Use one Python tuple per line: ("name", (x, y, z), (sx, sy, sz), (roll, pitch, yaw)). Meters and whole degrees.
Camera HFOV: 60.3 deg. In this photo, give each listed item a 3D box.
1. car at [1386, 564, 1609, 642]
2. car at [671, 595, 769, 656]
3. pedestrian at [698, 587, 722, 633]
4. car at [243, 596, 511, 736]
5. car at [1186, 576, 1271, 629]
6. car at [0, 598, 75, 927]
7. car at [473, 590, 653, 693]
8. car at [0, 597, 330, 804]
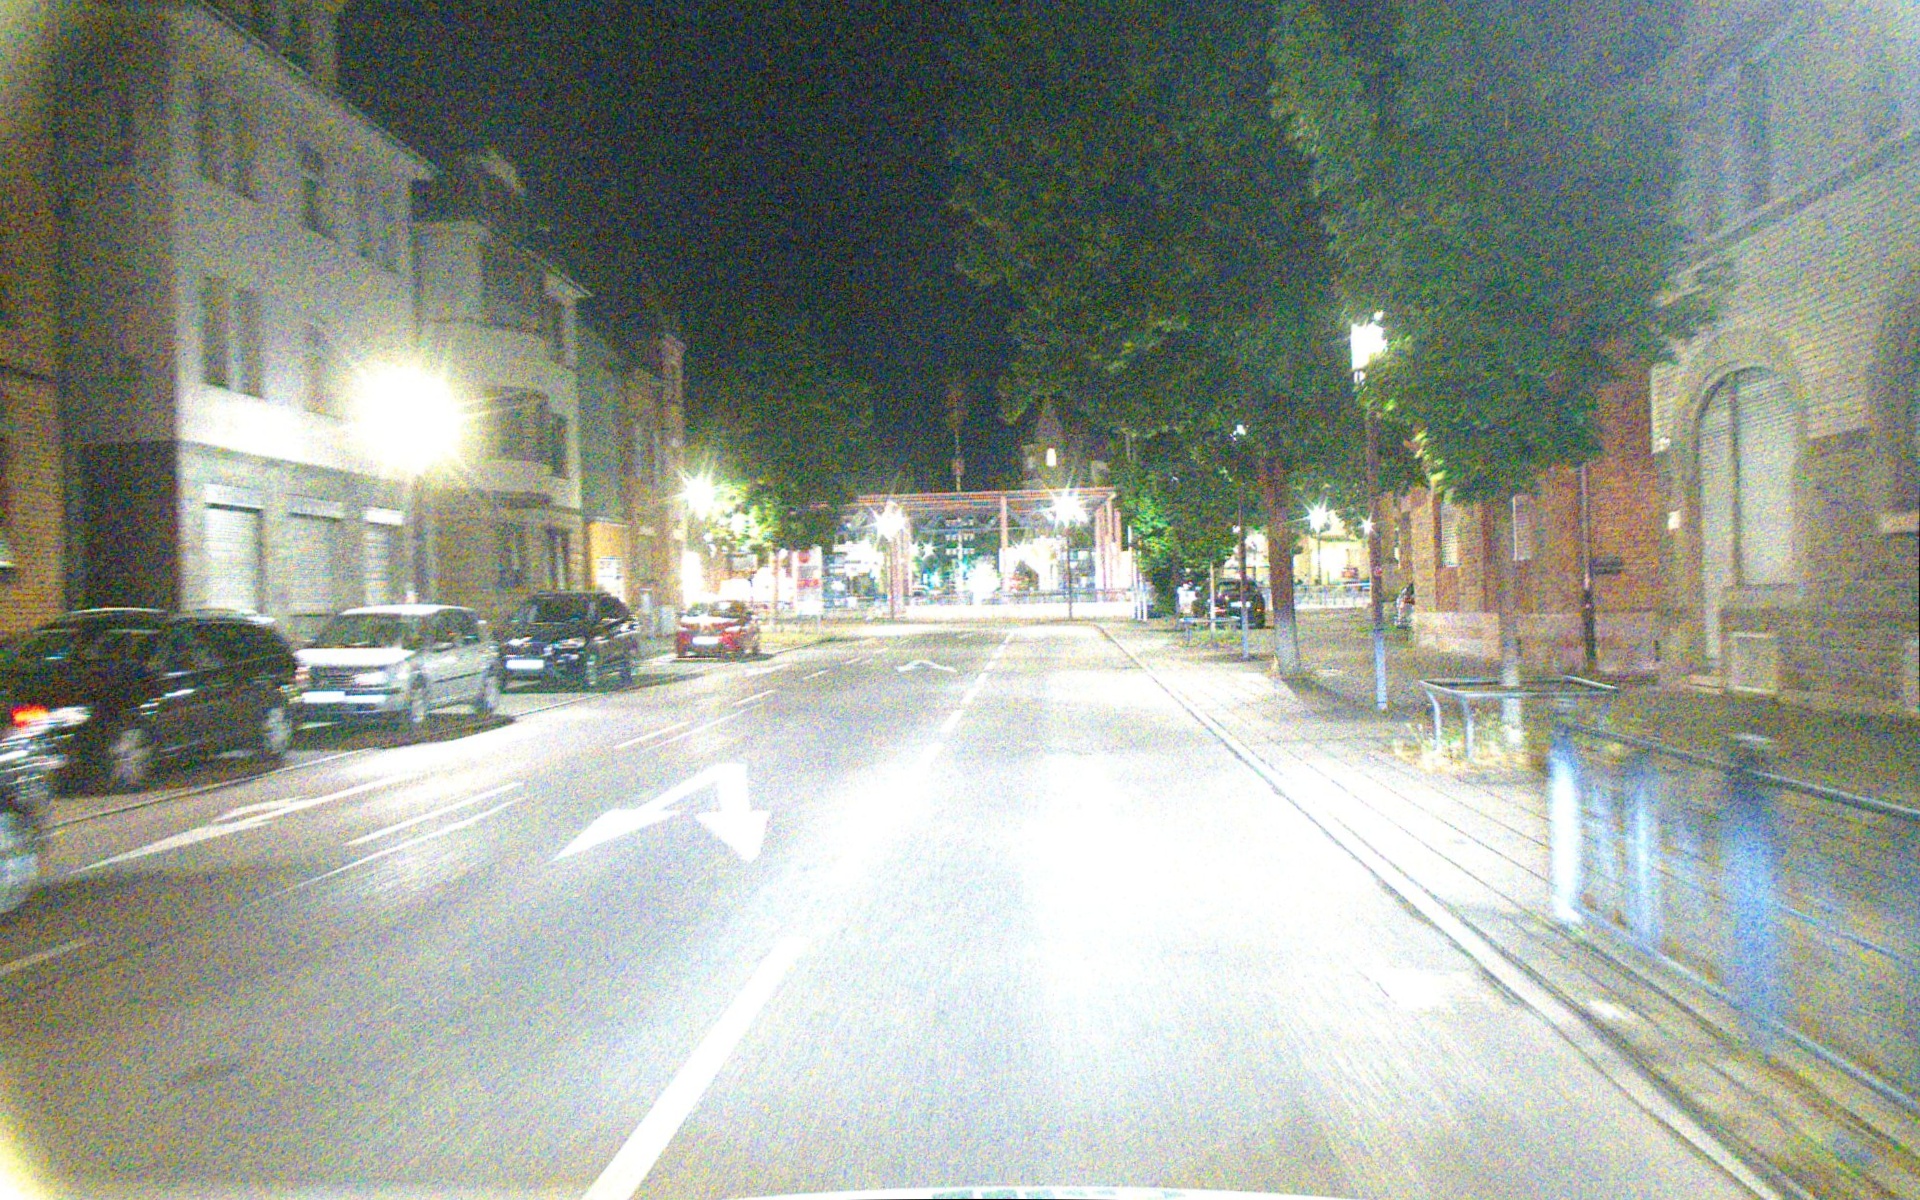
("car", (11.617, 0.053, 36.003), (4.332, 1.485, 1.791), (-2, 1, 8))
("car", (-5.937, 0.604, 41.362), (1.747, 1.440, 4.127), (0, 0, 2))
("pedestrian", (-10.111, 0.425, 66.977), (0.720, 1.854, 0.681), (1, -2, -43))
("car", (-7.104, 0.741, 20.618), (1.747, 1.517, 4.002), (1, 0, 3))
("car", (7.963, 0.057, 49.374), (1.698, 1.485, 4.727), (-1, 0, -1))
("car", (-5.215, 0.778, 5.932), (1.679, 1.454, 4.002), (-3, 0, 3))
("car", (-6.810, 0.652, 28.848), (1.747, 1.609, 4.414), (1, 0, 4))
("car", (-7.512, 0.758, 14.817), (1.747, 1.517, 4.332), (1, 0, 5))
